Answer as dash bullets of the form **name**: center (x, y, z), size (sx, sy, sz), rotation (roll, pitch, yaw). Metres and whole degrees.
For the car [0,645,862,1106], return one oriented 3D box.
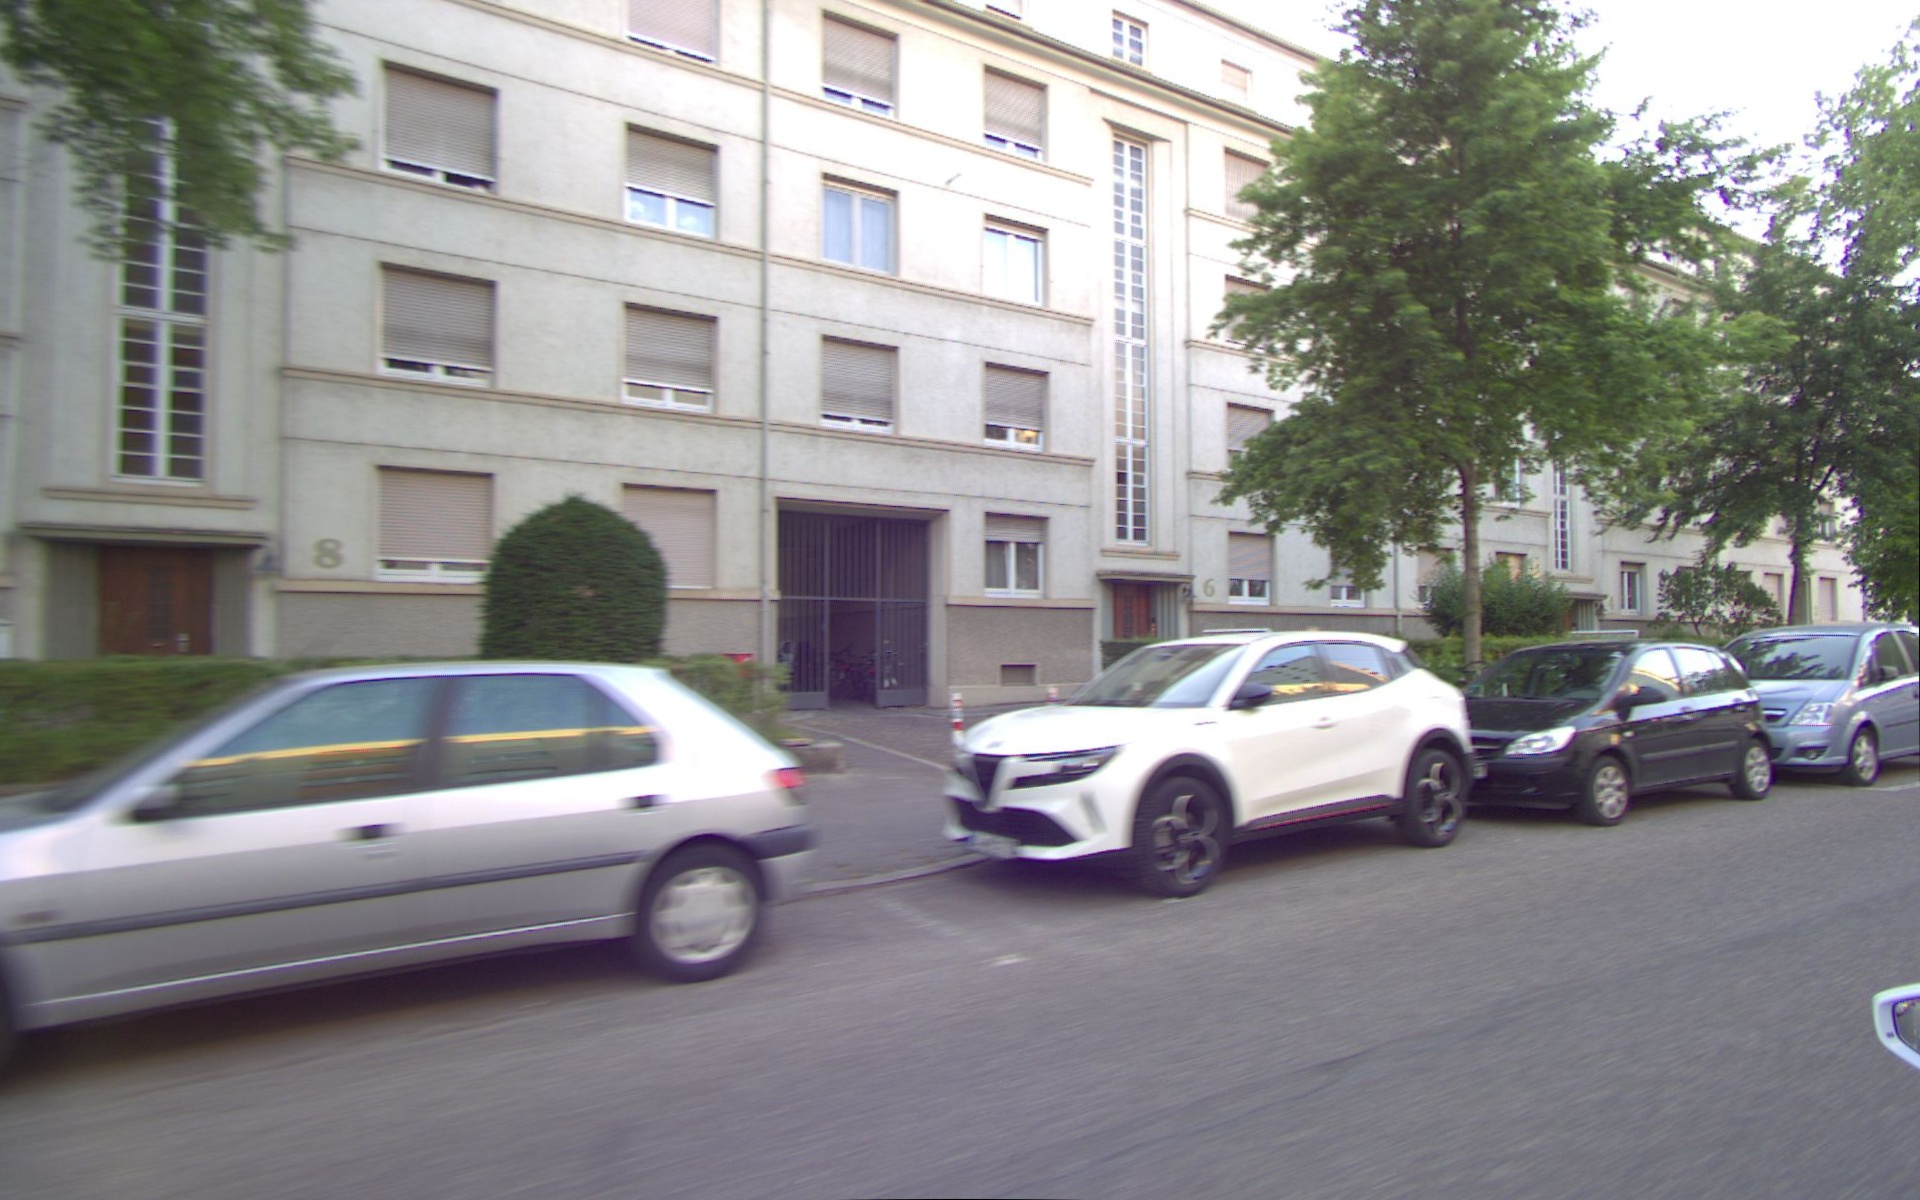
- **car**: center (-2.636, 0.952, 4.305), size (4.131, 1.422, 1.584), rotation (1, -5, -30)

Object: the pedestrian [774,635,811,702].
- **pedestrian**: center (-3.403, 1.387, 20.419), size (0.583, 1.337, 0.554), rotation (-1, -2, 13)

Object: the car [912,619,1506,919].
- **car**: center (1.865, 0.997, 7.059), size (4.160, 1.558, 1.582), rotation (2, -6, -32)

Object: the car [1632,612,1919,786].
- **car**: center (9.526, 1.040, 11.194), size (4.068, 1.621, 1.700), rotation (1, -5, -30)

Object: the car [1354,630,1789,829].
- **car**: center (5.602, 1.067, 9.150), size (3.797, 1.470, 1.700), rotation (1, -5, -30)

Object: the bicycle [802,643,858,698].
- **bicycle**: center (-3.036, 1.607, 23.263), size (0.620, 1.187, 1.919), rotation (1, -2, -29)

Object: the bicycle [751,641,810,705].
- **bicycle**: center (-3.537, 1.426, 19.987), size (0.615, 1.187, 1.818), rotation (0, -2, 8)

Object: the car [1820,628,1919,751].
- **car**: center (13.702, 1.145, 13.450), size (4.213, 1.516, 1.728), rotation (1, -4, -26)

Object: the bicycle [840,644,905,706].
- **bicycle**: center (-1.841, 1.523, 20.805), size (0.620, 1.187, 1.919), rotation (1, -2, -29)
